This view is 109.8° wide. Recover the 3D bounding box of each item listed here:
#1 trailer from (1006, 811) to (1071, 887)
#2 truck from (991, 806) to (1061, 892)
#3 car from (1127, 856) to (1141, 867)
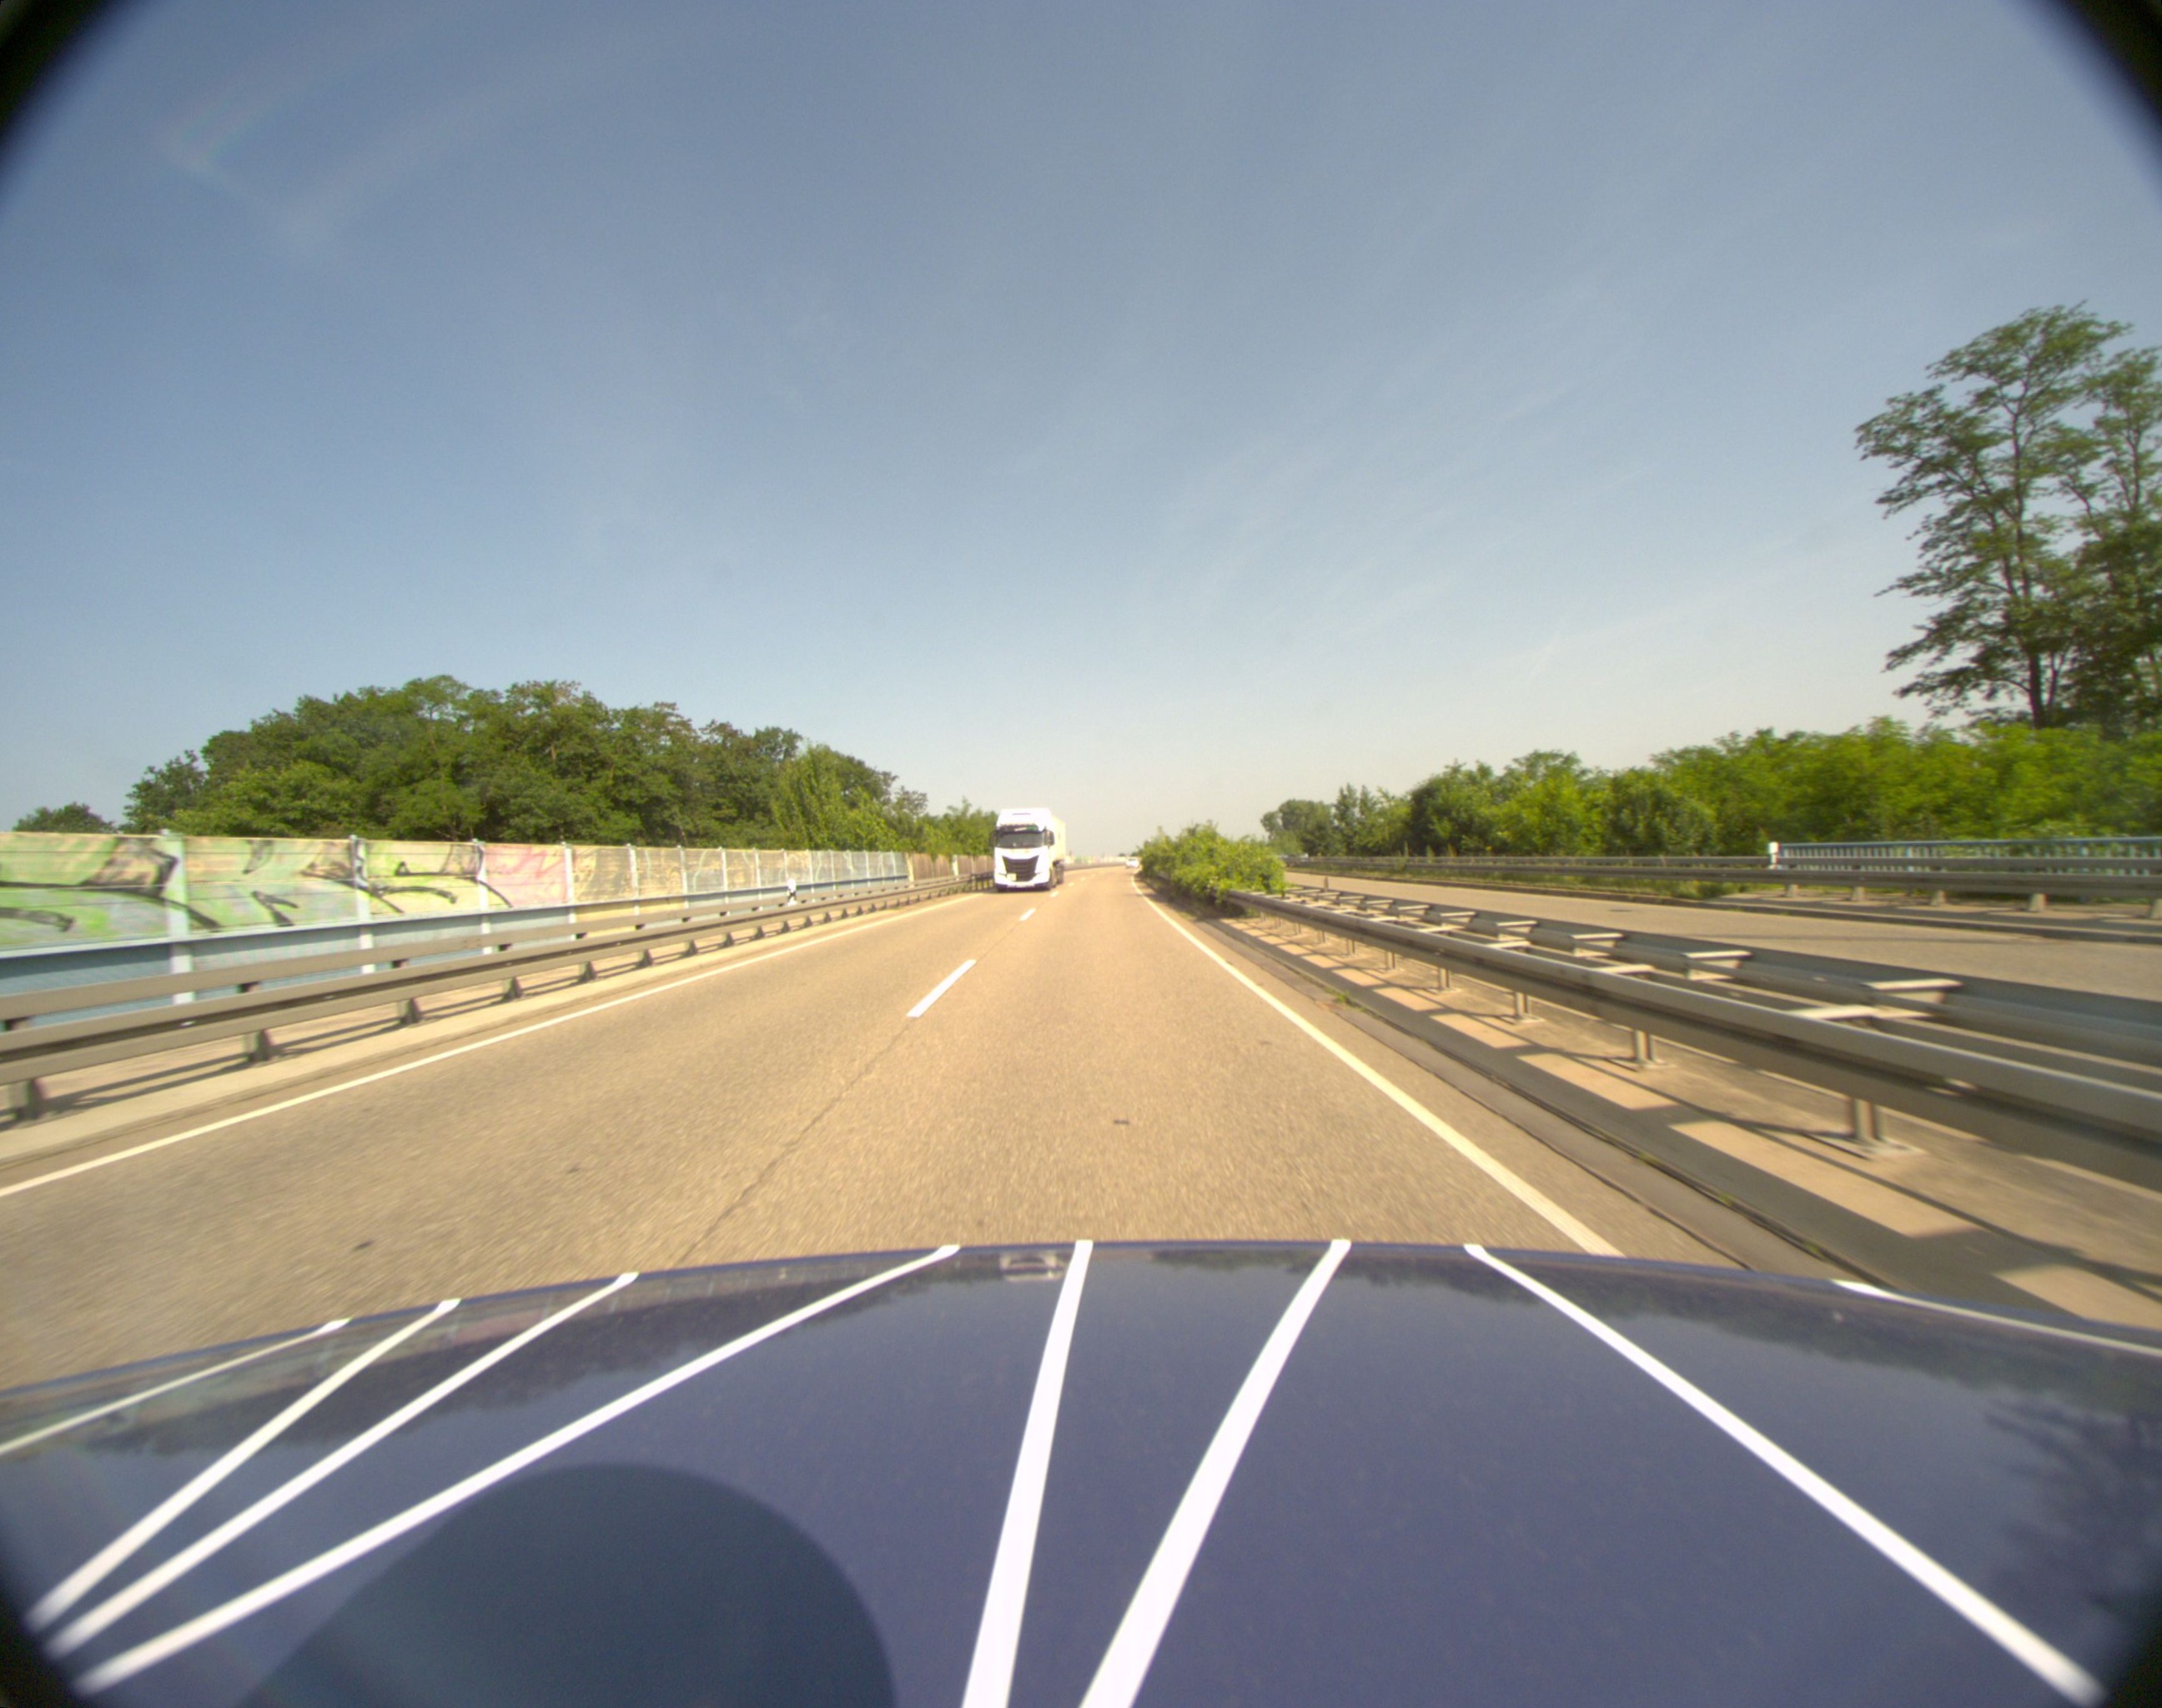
[{"bbox_3d":[-2.283,-0.207,44.271,2.685,3.884,9.675,-2,-1,3],"label":"trailer"},{"bbox_3d":[-2.592,-0.241,37.844,2.665,3.873,5.649,-2,0,3],"label":"truck"},{"bbox_3d":[7.795,1.068,111.489,1.788,1.427,4.003,-3,-1,8],"label":"car"}]
